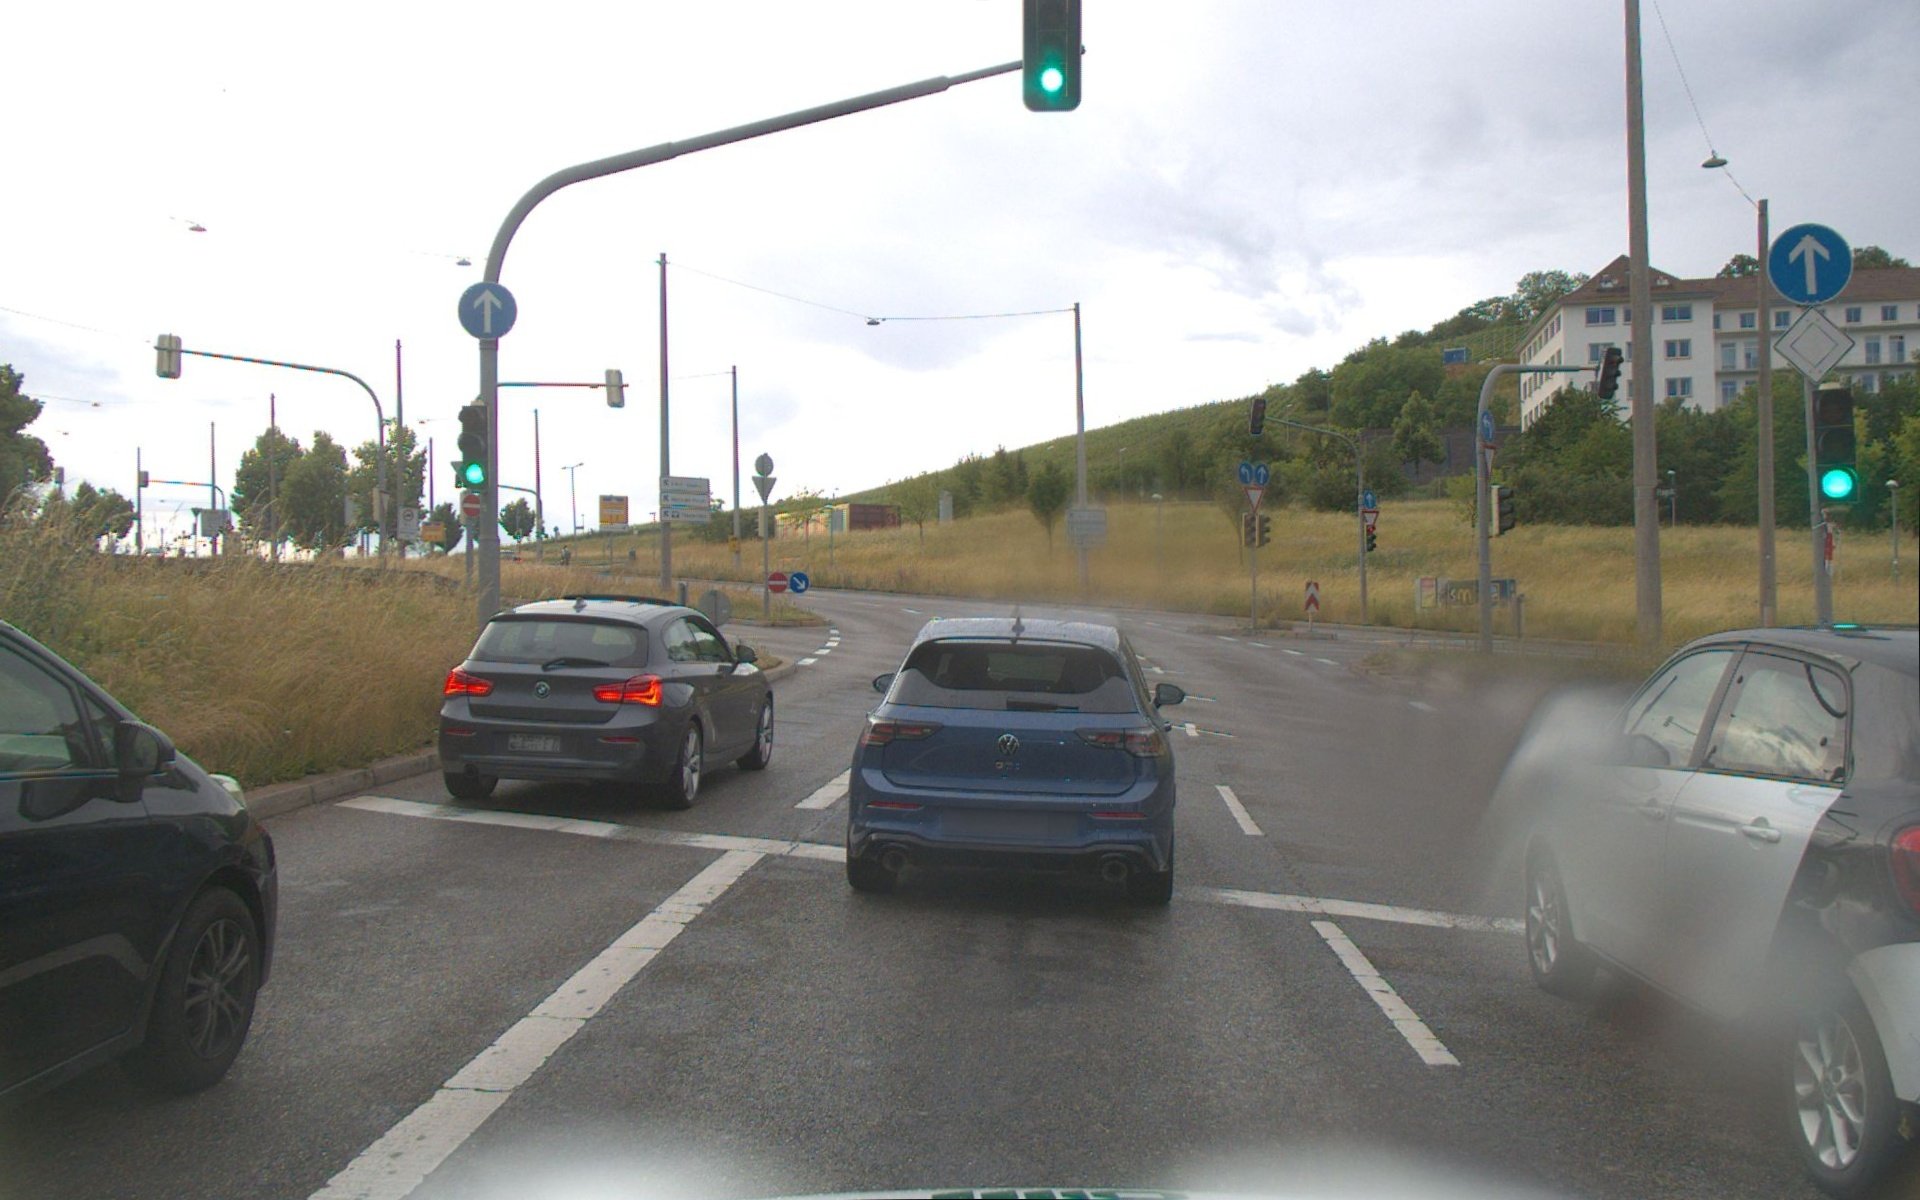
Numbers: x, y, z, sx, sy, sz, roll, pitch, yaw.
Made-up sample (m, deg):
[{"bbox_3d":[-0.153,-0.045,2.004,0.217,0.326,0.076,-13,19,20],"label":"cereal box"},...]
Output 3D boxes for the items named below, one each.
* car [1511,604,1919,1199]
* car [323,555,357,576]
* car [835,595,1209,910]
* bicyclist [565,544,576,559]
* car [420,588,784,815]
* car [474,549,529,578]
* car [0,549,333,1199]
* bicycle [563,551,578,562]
[{"bbox_3d":[3.174,0.818,5.570,1.623,1.529,3.452,1,-1,3],"label":"car"},{"bbox_3d":[-53.010,-2.940,141.375,1.972,1.665,4.378,3,0,-29],"label":"car"},{"bbox_3d":[0.432,0.737,9.842,1.787,1.486,3.810,0,0,4],"label":"car"},{"bbox_3d":[-29.323,-3.655,124.505,0.519,1.065,0.573,4,-1,-34],"label":"bicyclist"},{"bbox_3d":[-2.578,0.664,12.932,1.667,1.485,4.116,0,0,4],"label":"car"},{"bbox_3d":[-27.875,-2.232,100.468,1.973,1.646,4.801,2,0,-31],"label":"car"},{"bbox_3d":[-2.989,0.647,3.637,1.608,1.530,3.780,2,1,2],"label":"car"},{"bbox_3d":[-29.329,-3.260,124.469,0.513,0.788,1.602,2,0,-34],"label":"bicycle"}]
